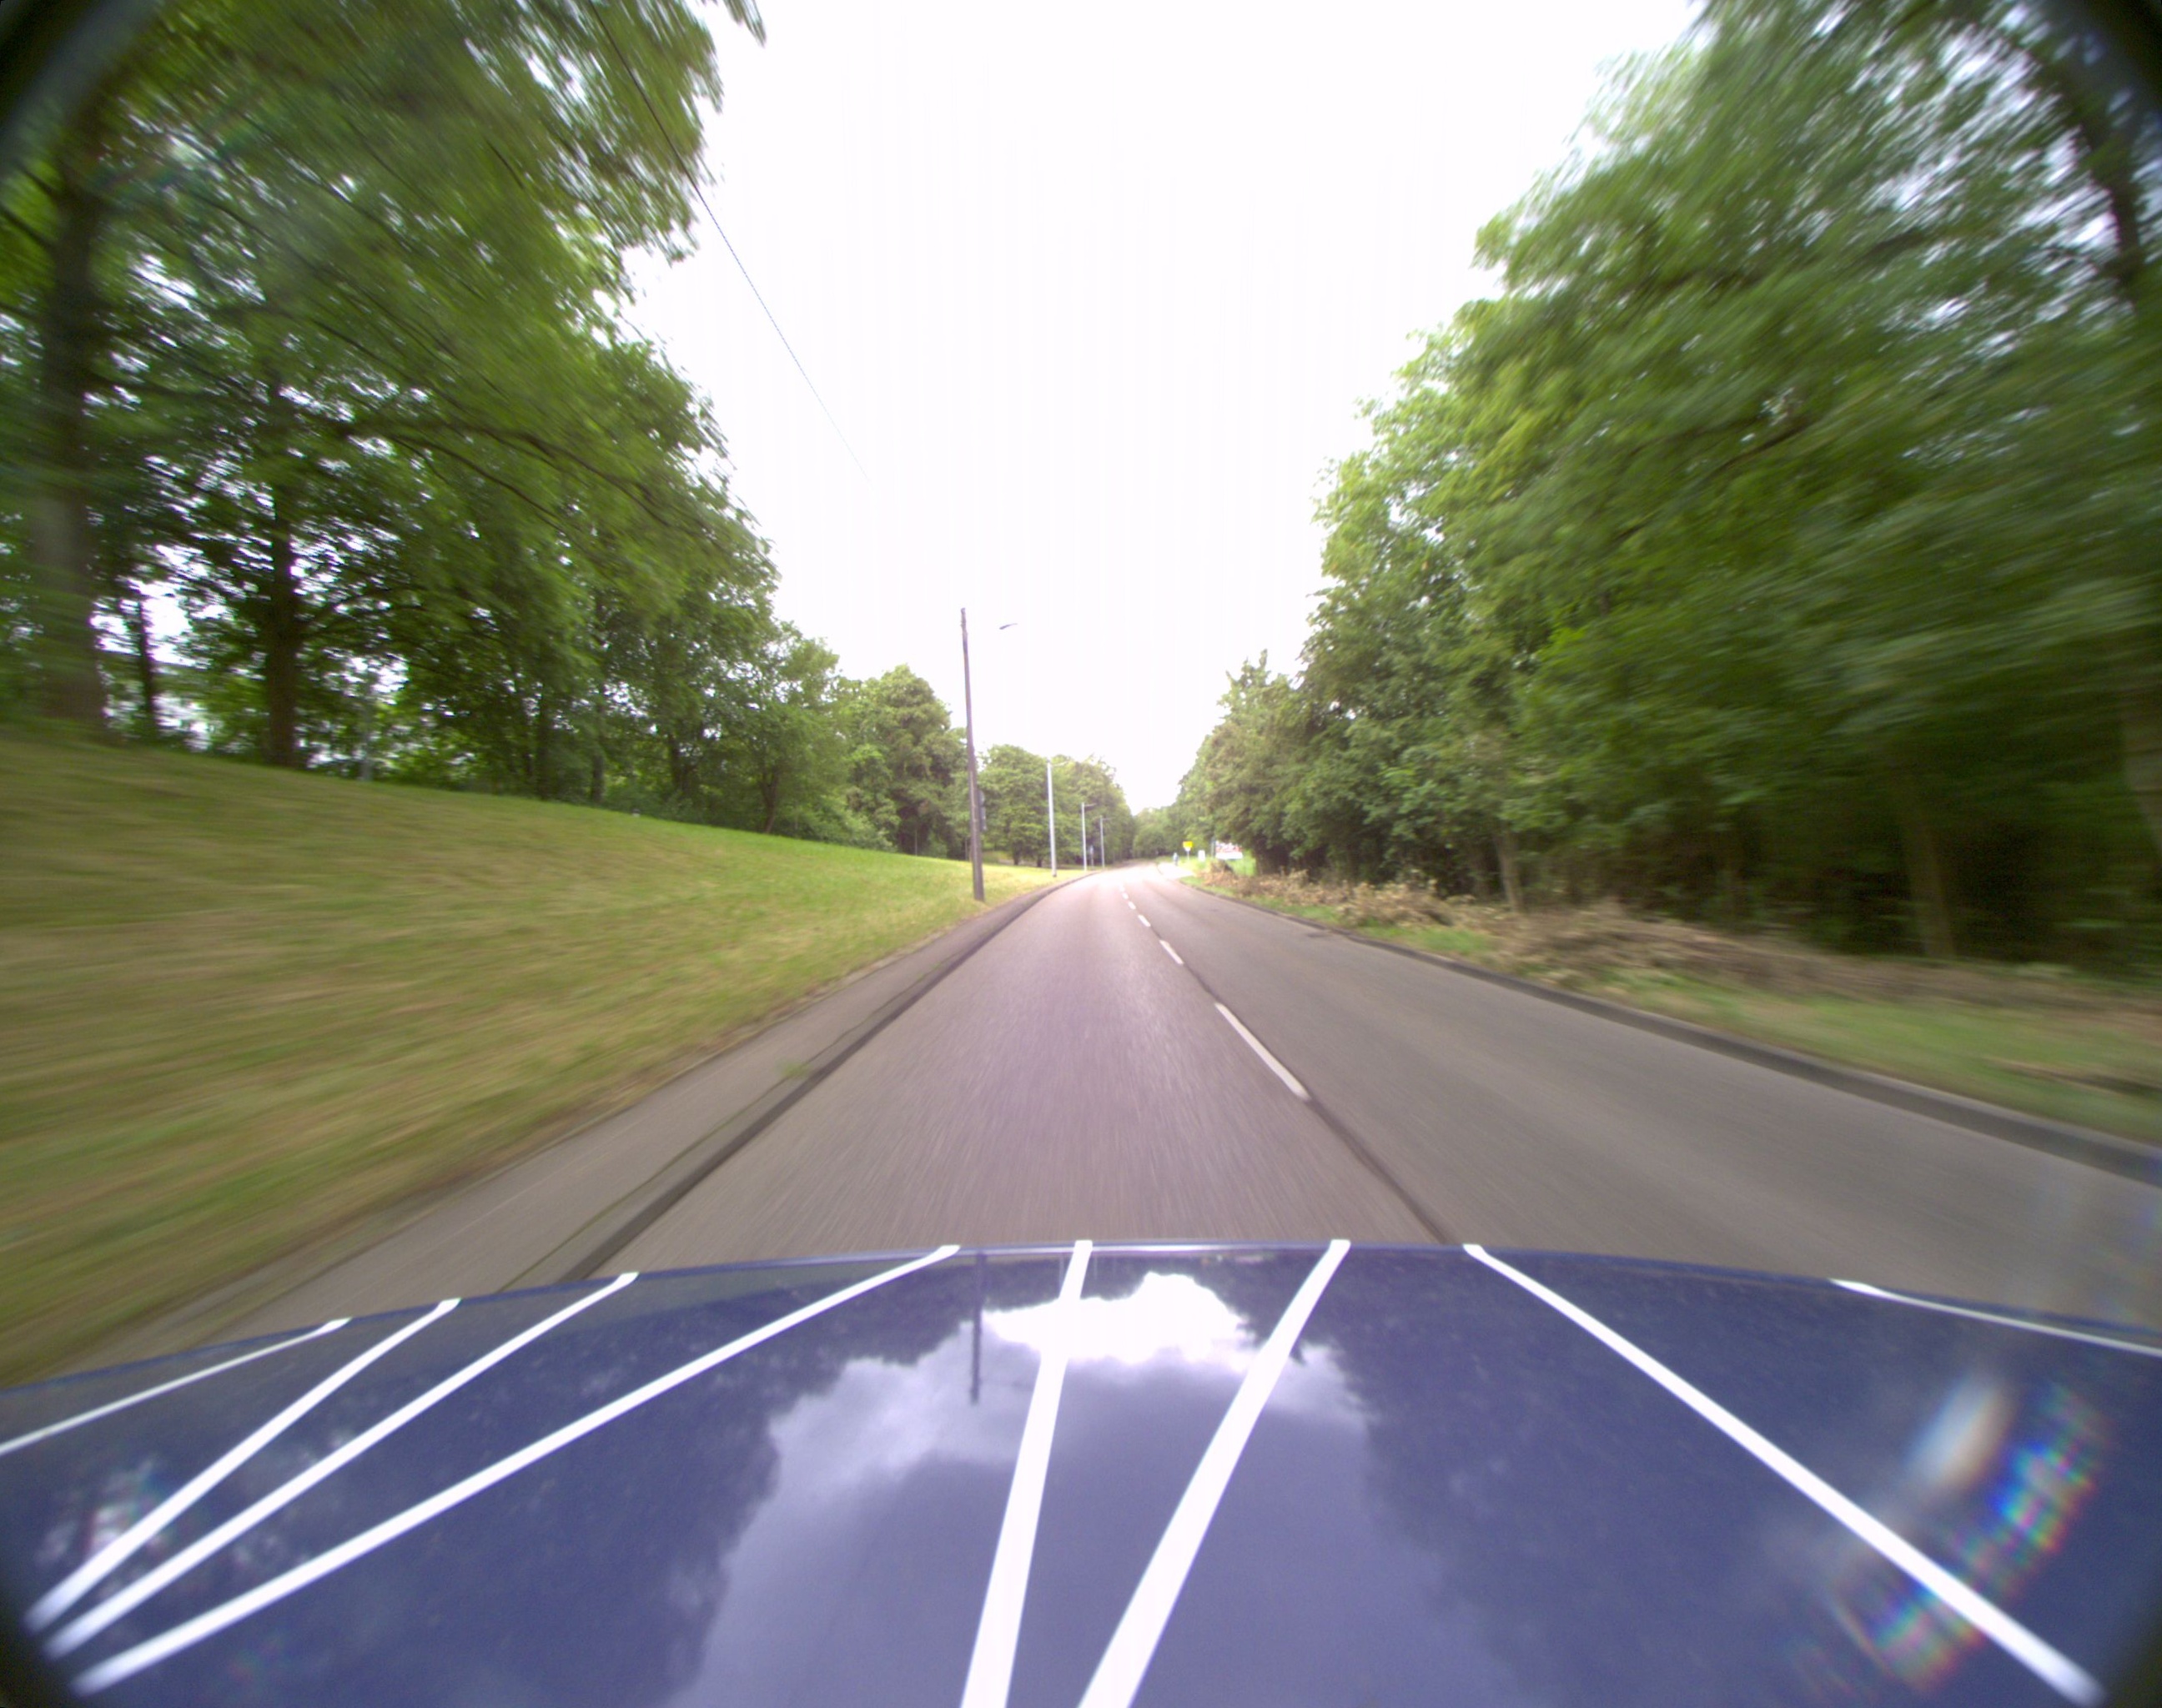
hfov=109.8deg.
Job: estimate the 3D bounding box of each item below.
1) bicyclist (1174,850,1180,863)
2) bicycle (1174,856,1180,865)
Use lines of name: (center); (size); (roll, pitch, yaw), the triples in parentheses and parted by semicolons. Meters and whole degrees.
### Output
bicyclist: (11.506, 0.315, 91.080); (0.667, 1.511, 1.272); (-2, 0, 8)
bicycle: (11.526, 0.808, 91.083); (0.667, 1.068, 2.147); (-2, 0, 8)
